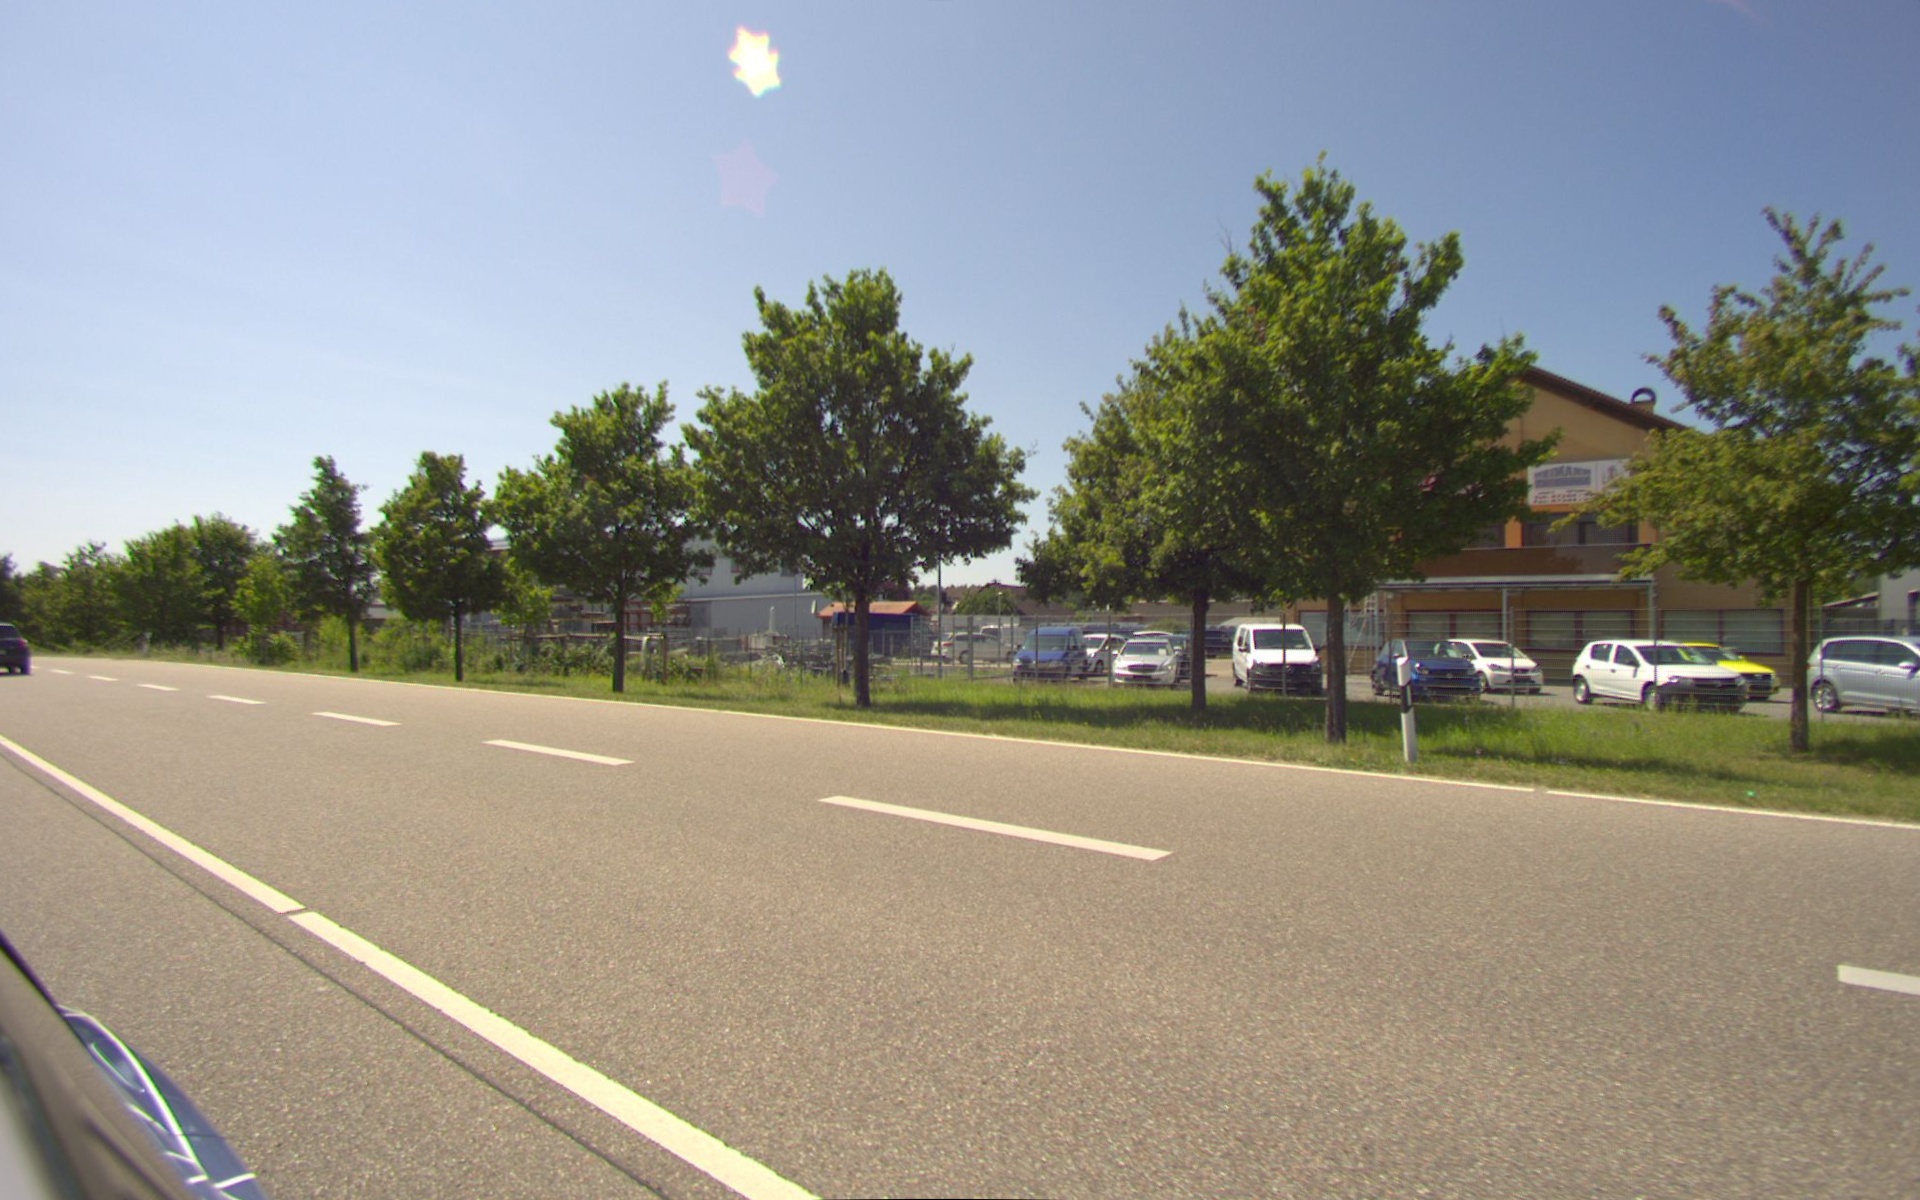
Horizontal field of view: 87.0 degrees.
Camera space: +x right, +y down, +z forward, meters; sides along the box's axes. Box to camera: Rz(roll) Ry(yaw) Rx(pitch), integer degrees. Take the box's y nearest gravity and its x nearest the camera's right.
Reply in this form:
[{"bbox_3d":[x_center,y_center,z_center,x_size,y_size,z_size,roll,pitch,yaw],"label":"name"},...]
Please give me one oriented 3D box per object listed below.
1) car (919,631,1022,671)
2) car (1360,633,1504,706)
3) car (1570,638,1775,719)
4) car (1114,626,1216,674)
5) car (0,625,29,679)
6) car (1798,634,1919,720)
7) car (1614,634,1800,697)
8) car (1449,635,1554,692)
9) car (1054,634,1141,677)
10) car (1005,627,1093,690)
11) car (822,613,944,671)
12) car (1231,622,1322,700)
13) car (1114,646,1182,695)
[{"bbox_3d":[0.539,2.427,48.237,4.557,1.821,2.061,2,-3,-34],"label":"car"},{"bbox_3d":[11.863,1.698,25.752,1.974,1.608,3.995,-1,-1,4],"label":"car"},{"bbox_3d":[15.351,1.637,22.102,1.650,1.491,3.992,-1,-1,1],"label":"car"},{"bbox_3d":[10.779,2.644,53.504,5.037,2.445,2.054,1,-3,4],"label":"car"},{"bbox_3d":[-28.629,1.508,29.566,3.883,1.510,1.662,-2,-1,41],"label":"car"},{"bbox_3d":[18.989,1.499,19.781,1.567,1.555,4.341,-1,-1,0],"label":"car"},{"bbox_3d":[19.310,1.646,26.392,1.713,1.409,4.002,-1,-1,-3],"label":"car"},{"bbox_3d":[15.234,1.756,28.660,1.495,1.463,3.338,-1,-1,7],"label":"car"},{"bbox_3d":[5.101,2.014,37.254,1.639,1.419,3.653,-1,-1,36],"label":"car"},{"bbox_3d":[2.931,1.799,32.438,2.007,1.815,4.282,-1,-1,16],"label":"car"},{"bbox_3d":[-3.863,2.131,50.704,5.646,2.743,2.372,1,-3,-18],"label":"car"},{"bbox_3d":[8.770,1.617,28.357,1.807,1.969,4.650,-1,-1,10],"label":"car"},{"bbox_3d":[5.665,2.054,30.157,1.798,1.274,3.663,-1,-1,14],"label":"car"}]
